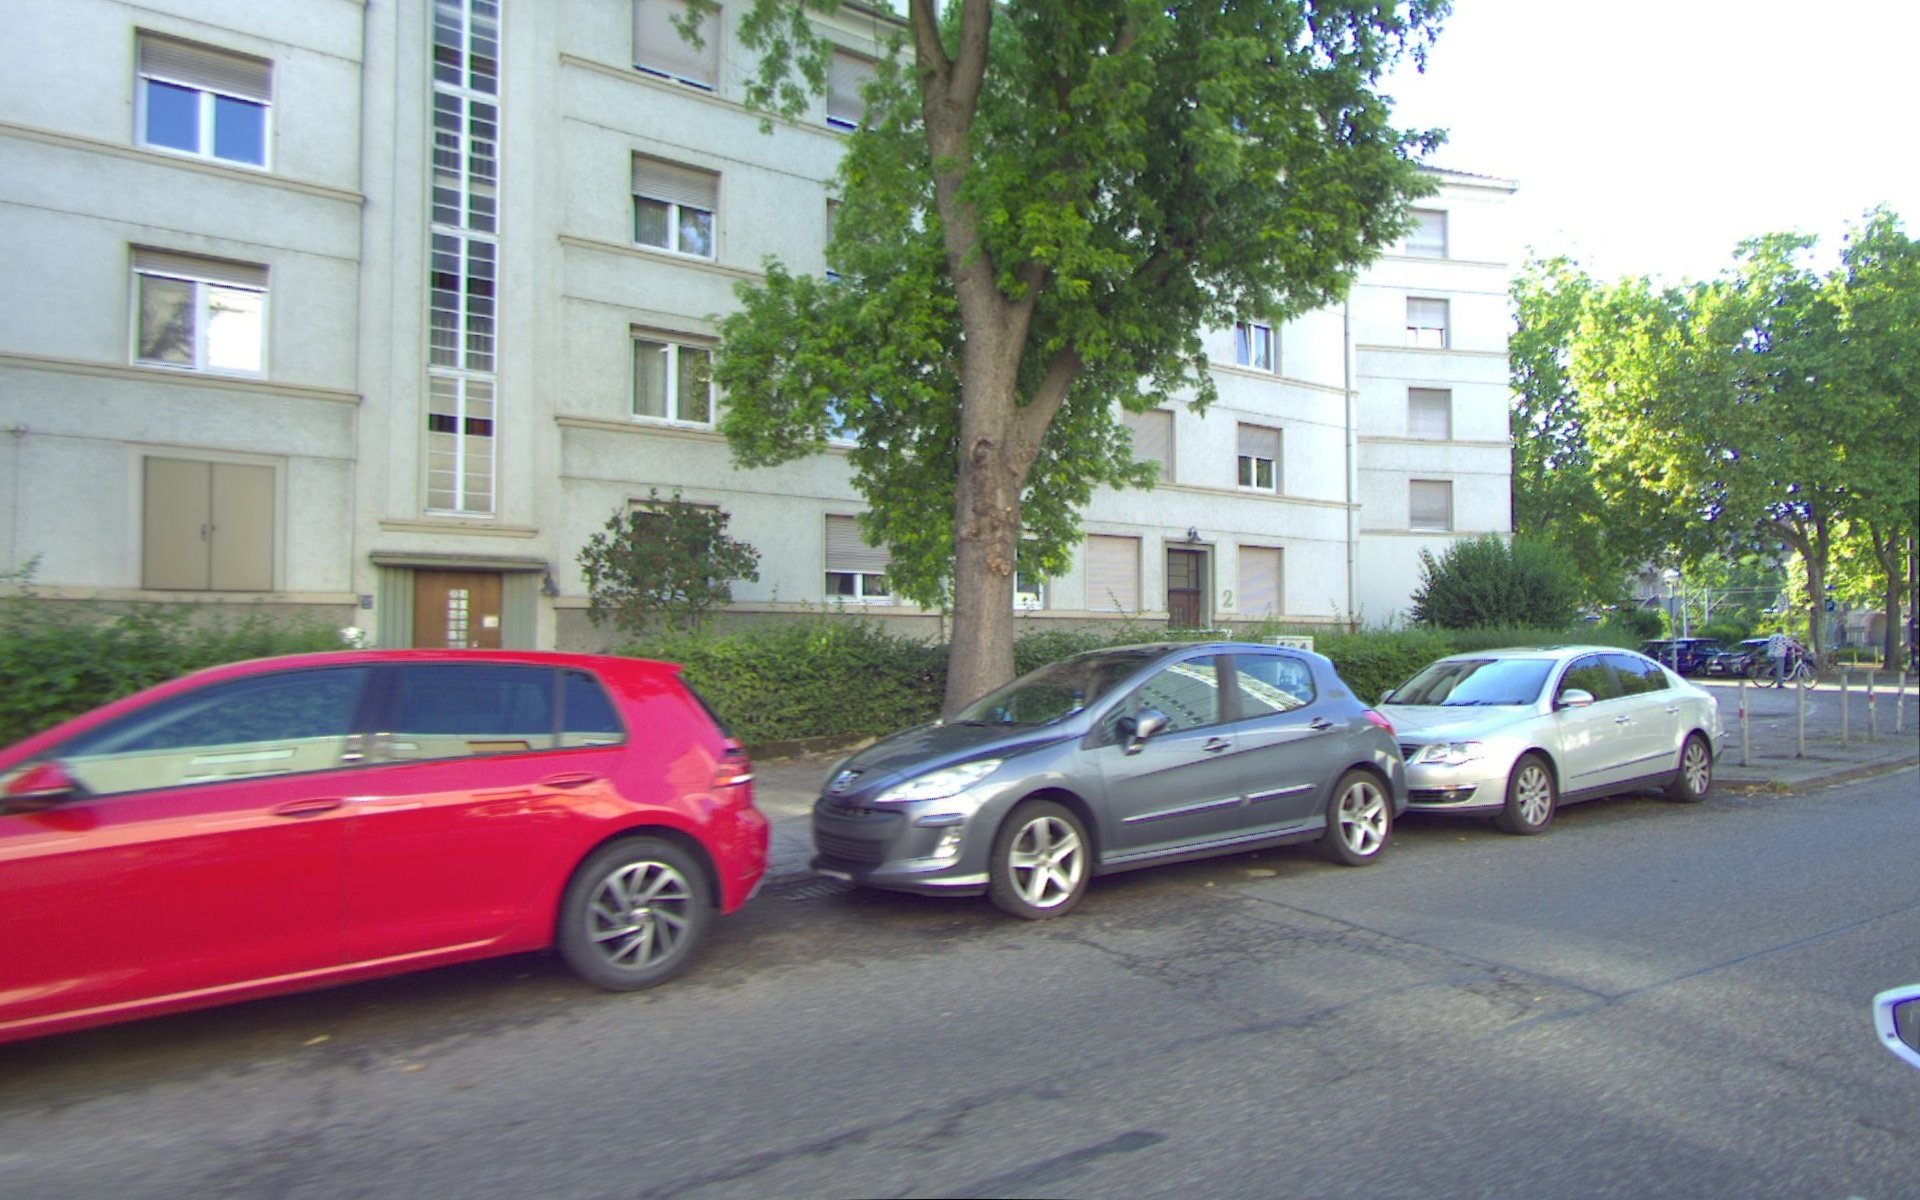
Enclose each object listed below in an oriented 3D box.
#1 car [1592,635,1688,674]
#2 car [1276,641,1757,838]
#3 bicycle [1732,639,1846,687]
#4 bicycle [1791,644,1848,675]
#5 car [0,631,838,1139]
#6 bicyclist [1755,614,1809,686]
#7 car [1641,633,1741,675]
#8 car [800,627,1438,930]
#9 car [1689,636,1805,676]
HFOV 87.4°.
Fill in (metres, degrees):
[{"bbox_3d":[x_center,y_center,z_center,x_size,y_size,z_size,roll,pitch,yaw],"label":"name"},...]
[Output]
[{"bbox_3d":[30.677,2.470,45.312,3.948,1.639,1.867,2,-1,-26],"label":"car"},{"bbox_3d":[5.214,1.127,9.223,4.656,1.370,1.761,2,-1,-31],"label":"car"},{"bbox_3d":[24.195,1.823,29.350,2.433,1.281,1.012,2,-1,4],"label":"bicycle"},{"bbox_3d":[34.377,2.379,40.165,3.254,1.160,0.714,2,-1,-31],"label":"bicycle"},{"bbox_3d":[-2.732,0.950,4.384,3.954,1.578,1.862,2,-3,-31],"label":"car"},{"bbox_3d":[24.033,1.453,29.374,0.781,2.040,0.978,2,-1,5],"label":"bicyclist"},{"bbox_3d":[31.599,2.298,43.430,3.947,1.639,1.868,-1,-1,-27],"label":"car"},{"bbox_3d":[1.168,0.973,6.731,4.081,1.458,1.695,2,-1,-31],"label":"car"},{"bbox_3d":[31.516,2.222,40.239,3.586,1.537,1.752,0,-3,-12],"label":"car"}]
